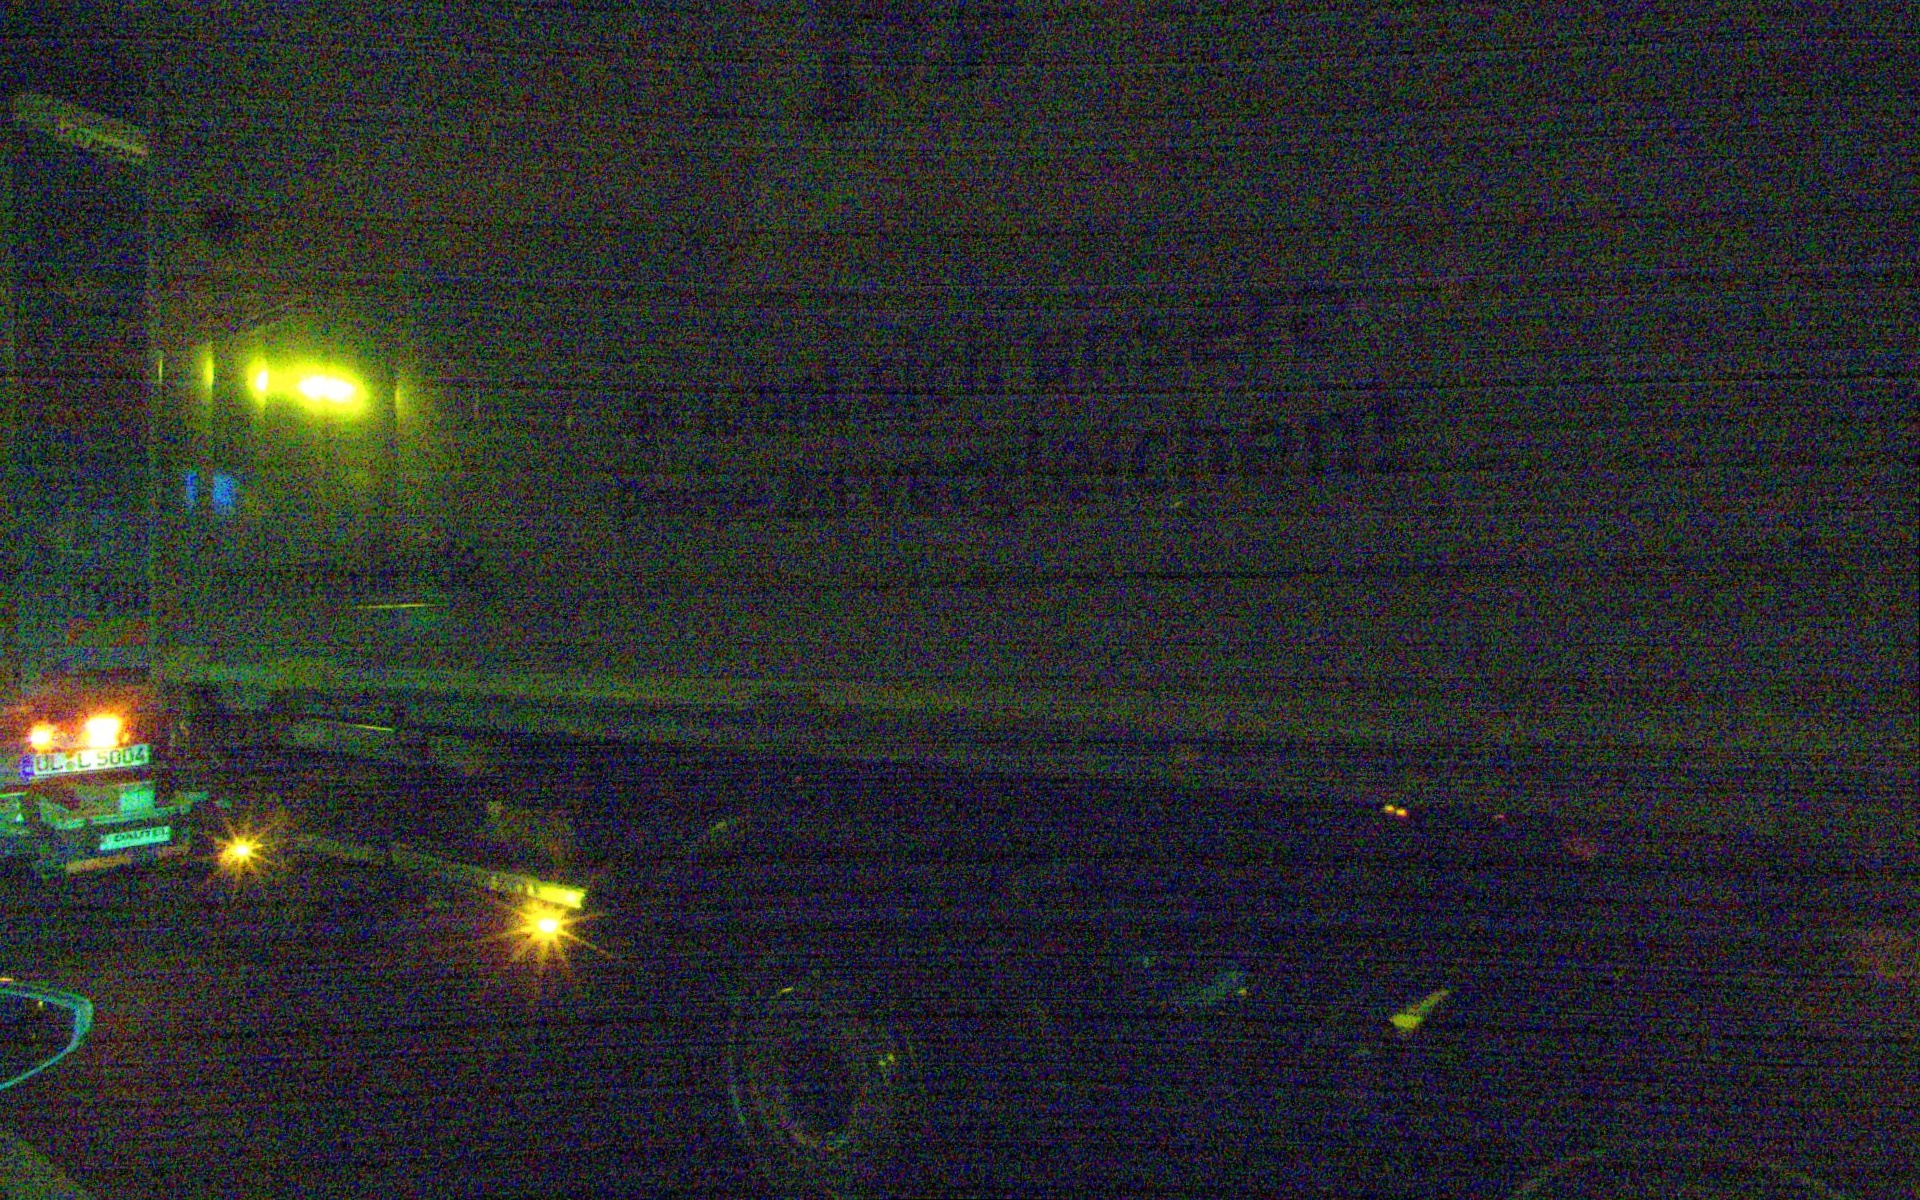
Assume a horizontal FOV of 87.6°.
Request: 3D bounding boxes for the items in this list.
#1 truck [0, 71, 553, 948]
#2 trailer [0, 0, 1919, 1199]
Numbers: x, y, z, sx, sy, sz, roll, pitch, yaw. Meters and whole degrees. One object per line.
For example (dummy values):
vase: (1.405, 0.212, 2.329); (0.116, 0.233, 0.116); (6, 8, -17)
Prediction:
truck: (-7.701, -0.299, 8.361); (9.768, 3.964, 2.883); (-1, -1, 33)
trailer: (0.124, -0.452, 3.300); (8.821, 3.908, 2.870); (-1, -1, 33)
